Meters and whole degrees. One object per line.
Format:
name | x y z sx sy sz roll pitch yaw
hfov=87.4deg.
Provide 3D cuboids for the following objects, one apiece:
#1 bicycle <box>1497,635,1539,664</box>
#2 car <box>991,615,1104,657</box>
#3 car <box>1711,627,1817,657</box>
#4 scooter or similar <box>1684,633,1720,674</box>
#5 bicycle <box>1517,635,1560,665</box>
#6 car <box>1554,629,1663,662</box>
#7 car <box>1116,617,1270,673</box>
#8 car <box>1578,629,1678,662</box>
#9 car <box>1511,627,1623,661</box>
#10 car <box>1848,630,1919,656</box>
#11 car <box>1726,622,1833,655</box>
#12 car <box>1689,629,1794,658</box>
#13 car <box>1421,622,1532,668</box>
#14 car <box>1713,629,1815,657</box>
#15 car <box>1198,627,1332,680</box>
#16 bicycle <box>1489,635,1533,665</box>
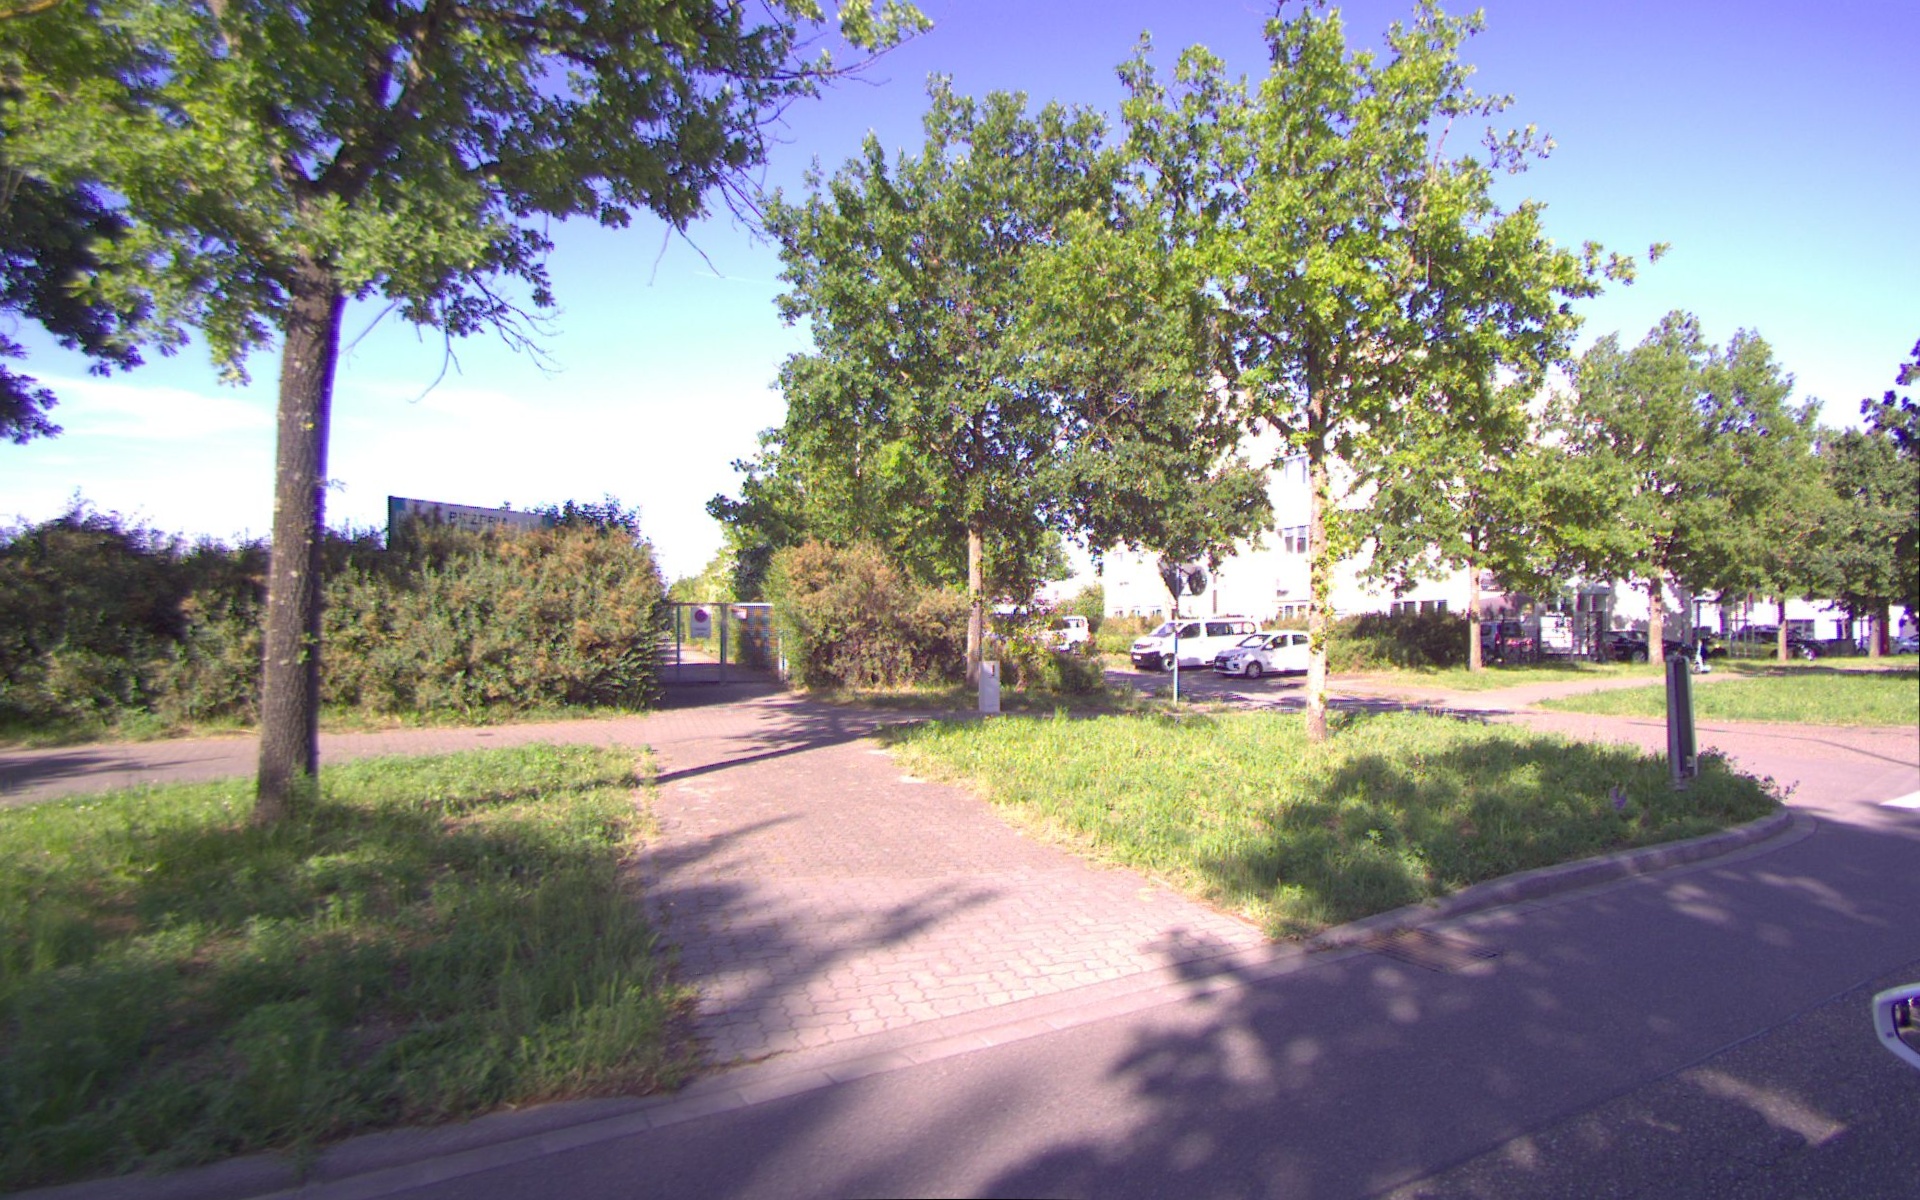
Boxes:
bicycle | 22.166 1.946 39.910 1.870 1.102 0.636 1 -2 -32
car | 4.584 1.855 52.927 5.434 1.954 2.360 -2 -1 -20
car | 43.555 2.273 54.515 4.087 1.558 1.897 0 -1 18
scooter or similar | 23.808 1.710 32.221 1.424 1.296 0.393 1 -1 -31
bicycle | 22.411 1.926 38.895 1.870 1.102 0.636 1 -2 -32
car | 30.273 2.120 47.023 3.920 1.467 1.802 0 -1 16
car | 8.921 1.690 38.542 5.358 1.841 2.298 -2 -1 -20
car | 32.488 2.179 48.961 3.929 1.531 1.798 -1 0 30
car | 27.200 1.950 45.147 3.919 1.467 1.802 0 -1 11
car | 62.113 2.831 67.064 1.931 1.639 3.742 1 -1 -16
car | 51.530 2.393 63.261 4.762 2.040 2.001 0 -1 17
car | 40.944 2.257 52.704 3.875 1.420 2.001 0 -1 18
car | 22.500 1.939 43.928 1.995 1.807 4.012 1 0 -20
car | 45.566 2.404 57.025 4.088 1.510 2.000 0 -1 20
car | 10.196 1.755 33.631 3.857 1.525 1.991 -2 -1 -20
bicycle | 21.073 1.900 38.427 1.870 1.102 0.636 1 -2 -32
